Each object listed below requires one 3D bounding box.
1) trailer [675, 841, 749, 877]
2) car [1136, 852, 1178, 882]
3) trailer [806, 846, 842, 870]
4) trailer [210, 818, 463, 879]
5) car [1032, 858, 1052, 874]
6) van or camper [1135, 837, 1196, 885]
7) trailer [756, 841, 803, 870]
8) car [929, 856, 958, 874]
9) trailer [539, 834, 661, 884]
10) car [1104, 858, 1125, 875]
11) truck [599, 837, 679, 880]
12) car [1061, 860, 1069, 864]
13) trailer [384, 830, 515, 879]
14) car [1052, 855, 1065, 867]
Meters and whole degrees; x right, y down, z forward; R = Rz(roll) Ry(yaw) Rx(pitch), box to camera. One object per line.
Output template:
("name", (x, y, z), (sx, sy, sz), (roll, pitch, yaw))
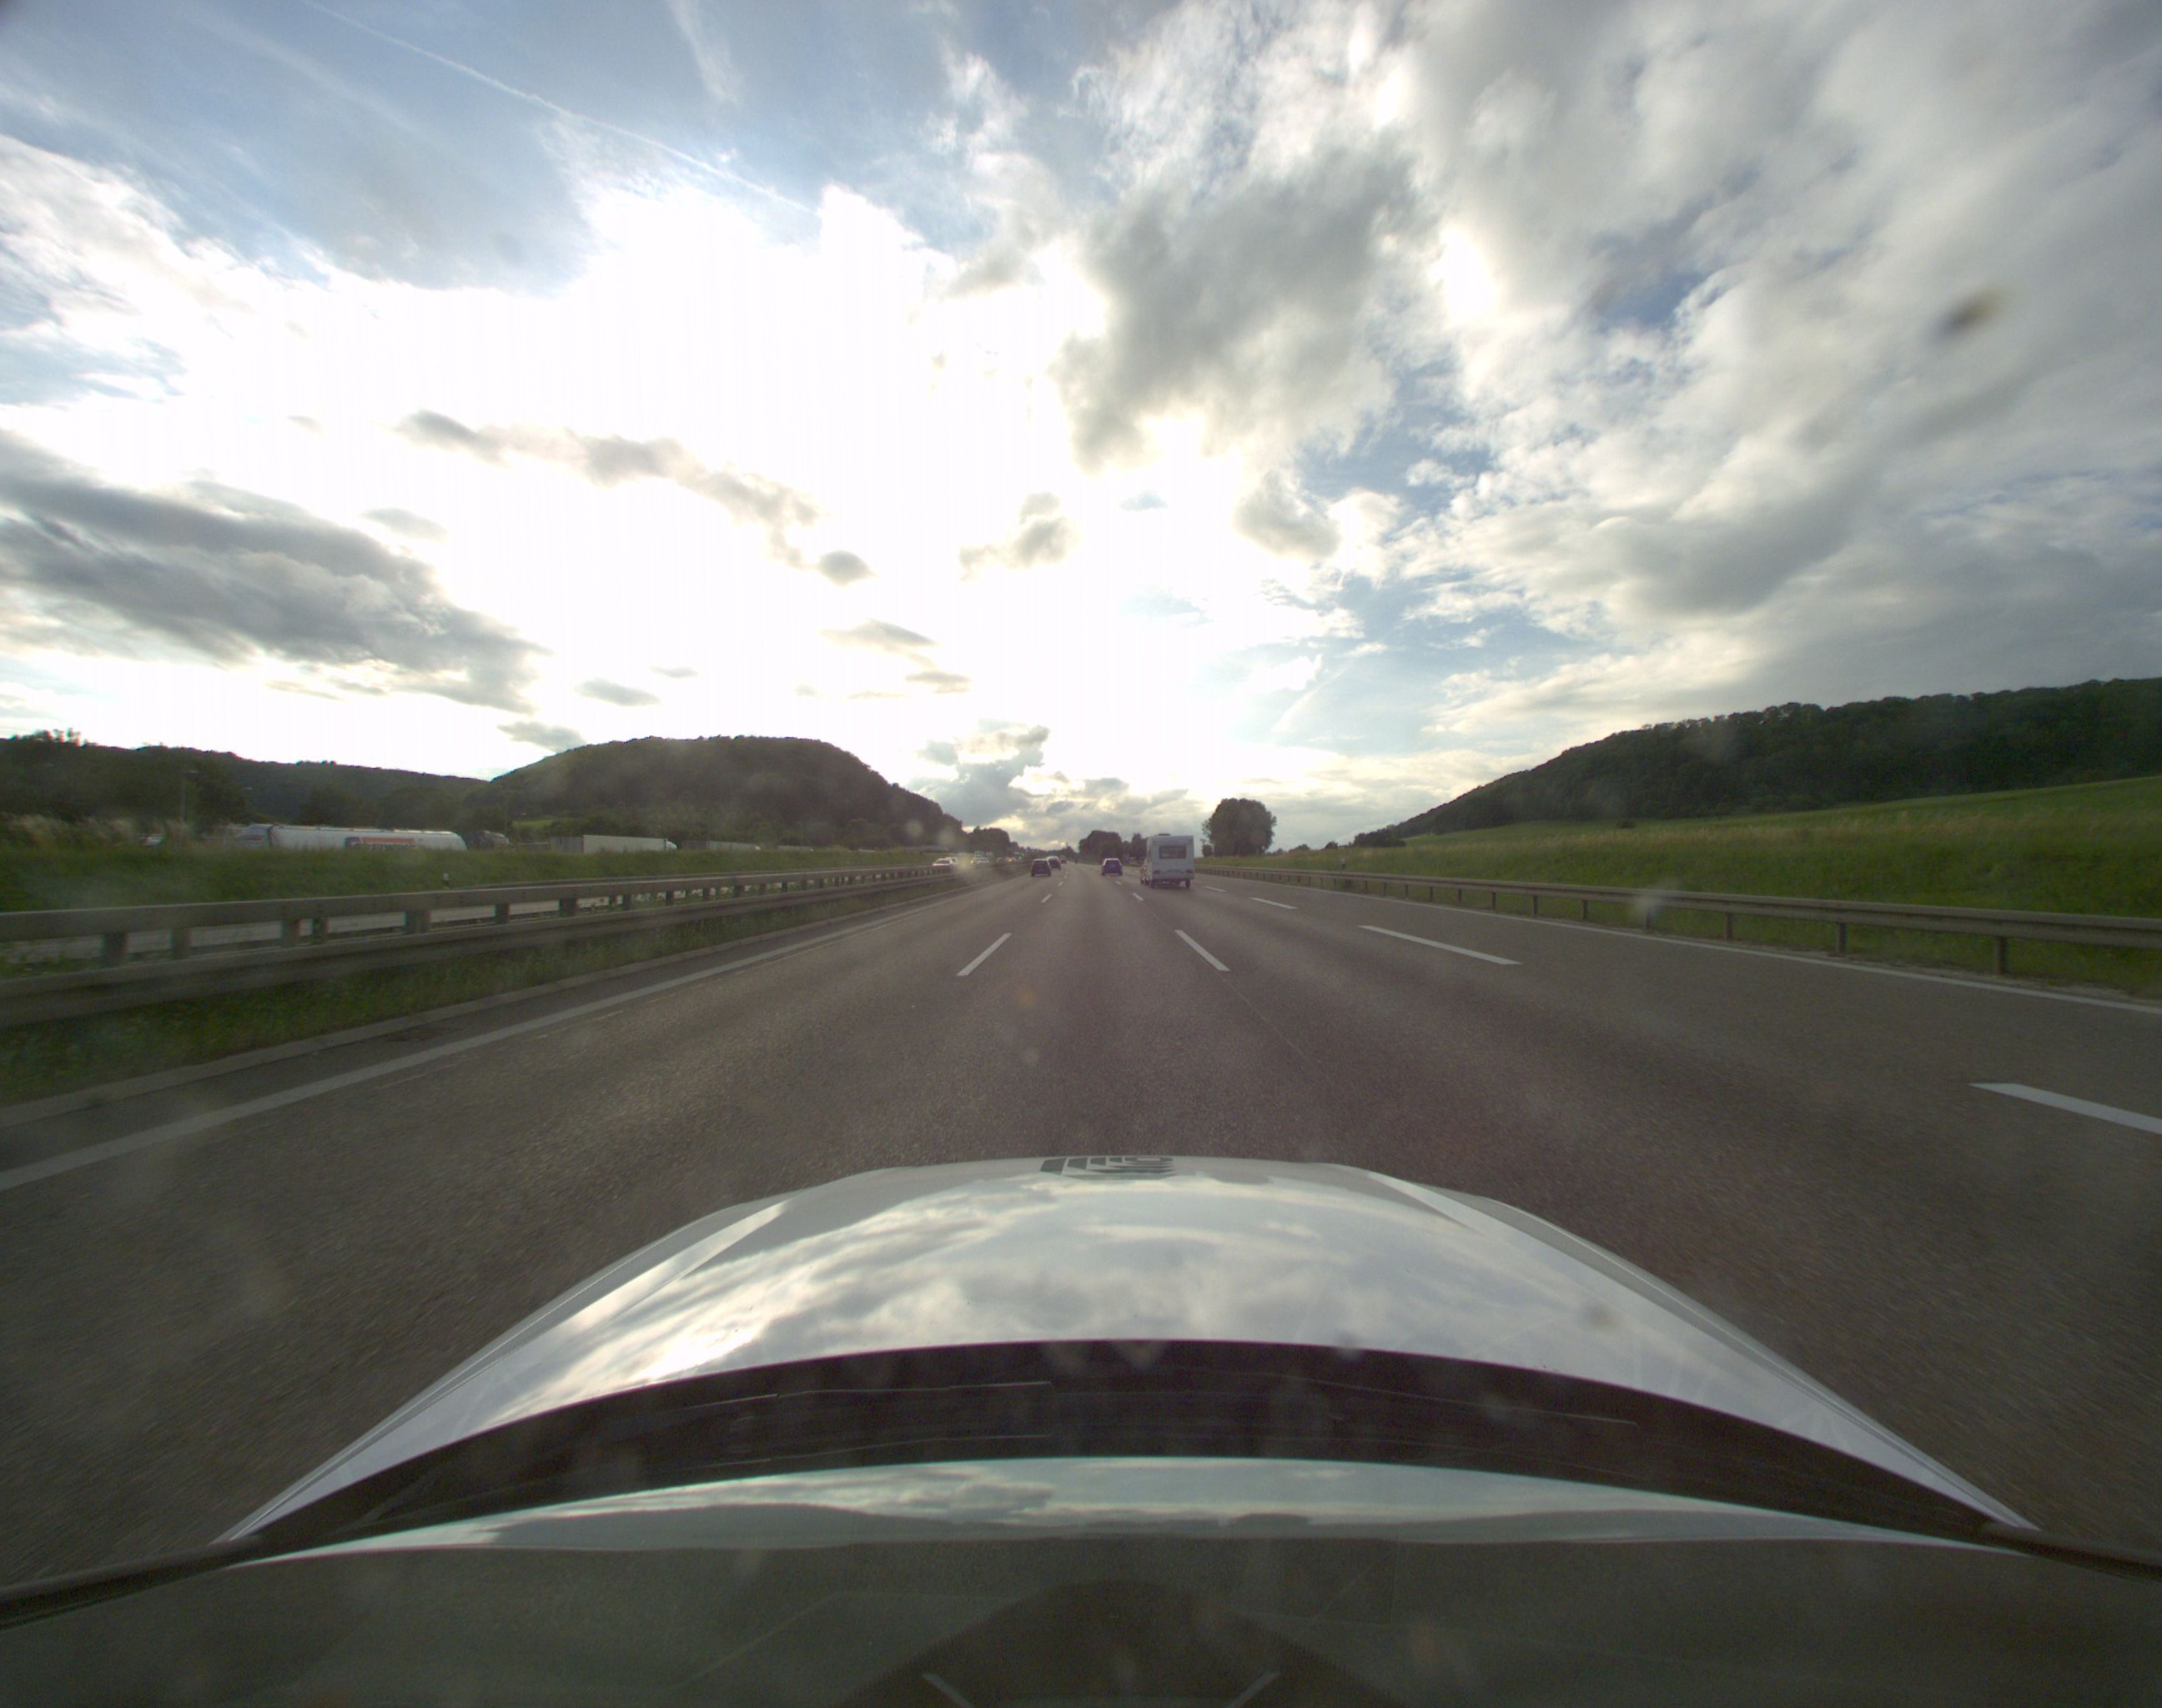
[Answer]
("trailer", (-40.924, 0.636, 91.094), (2.872, 3.696, 13.654), (-2, -1, -4))
("car", (4.252, 0.701, 46.018), (1.782, 1.652, 4.477), (0, 0, -2))
("trailer", (-42.346, 0.624, 134.689), (2.869, 3.696, 10.365), (-2, 0, -2))
("trailer", (-39.285, -0.089, 44.047), (2.571, 2.854, 12.255), (0, -1, -1))
("car", (-3.319, 1.011, 70.067), (1.533, 1.348, 3.676), (-2, 0, 0))
("van or camper", (4.231, 0.395, 41.715), (2.540, 2.239, 5.327), (-1, -1, 0))
("trailer", (-41.439, 0.253, 112.412), (2.869, 3.696, 10.365), (-2, 0, -2))
("car", (-12.973, 0.997, 77.223), (1.834, 1.530, 4.217), (-2, 0, 2))
("trailer", (-39.955, 0.427, 68.538), (2.871, 3.696, 13.659), (-2, 0, -3))
("car", (2.900, 1.066, 70.212), (1.760, 1.433, 4.002), (-2, -1, 2))
("truck", (-40.223, 0.440, 74.534), (2.874, 3.691, 8.485), (-2, -1, -2))
("car", (-4.505, 2.229, 231.060), (1.749, 1.222, 3.990), (-1, 0, -7))
("trailer", (-39.463, 0.098, 51.264), (2.604, 2.854, 7.300), (0, -2, -1))
("car", (-2.852, 0.866, 103.357), (1.560, 1.380, 4.000), (-1, 0, 0))
